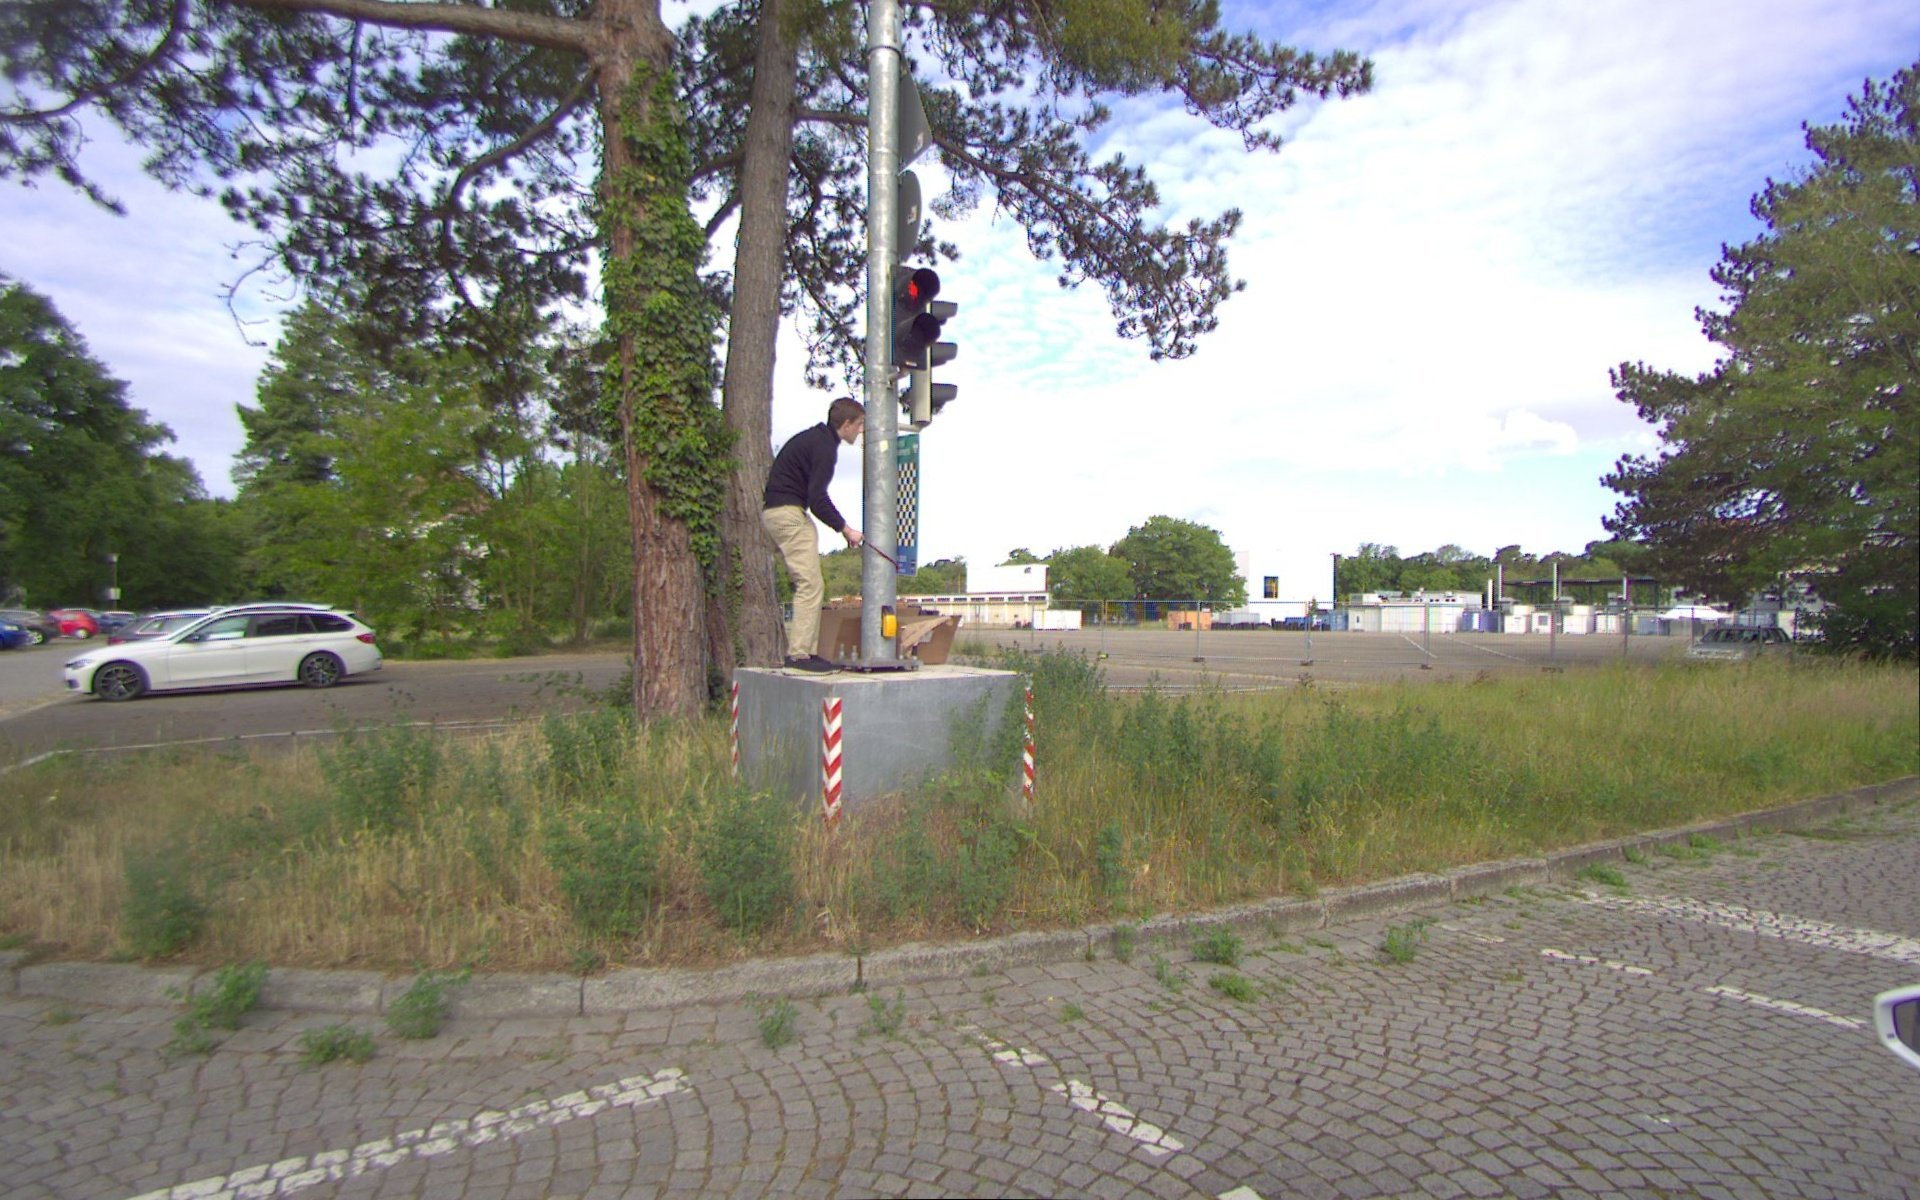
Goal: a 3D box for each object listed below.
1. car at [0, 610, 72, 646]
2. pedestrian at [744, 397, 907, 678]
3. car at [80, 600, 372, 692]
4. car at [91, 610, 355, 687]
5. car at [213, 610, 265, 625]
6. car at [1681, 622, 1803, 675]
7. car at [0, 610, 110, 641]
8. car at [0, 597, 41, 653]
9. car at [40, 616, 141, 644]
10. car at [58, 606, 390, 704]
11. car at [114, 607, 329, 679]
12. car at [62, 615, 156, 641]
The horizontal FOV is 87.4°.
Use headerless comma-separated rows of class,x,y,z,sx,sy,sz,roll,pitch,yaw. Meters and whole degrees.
car,-43.279,1.276,45.368,4.539,1.542,1.823,-1,0,-36
pedestrian,-0.831,-0.332,6.038,0.809,1.538,0.881,1,-1,-19
car,-14.551,0.840,20.210,4.539,1.599,1.823,-1,0,-36
car,-16.128,1.002,22.316,4.535,1.489,1.824,-1,0,-33
car,-78.583,1.923,109.572,4.540,1.654,1.823,1,-1,-36
car,23.340,1.391,29.931,4.423,1.457,1.704,1,-1,-36
car,-48.745,1.352,53.966,4.539,1.542,1.823,-1,0,-36
car,-38.323,1.000,38.031,4.929,2.125,1.824,-1,0,-34
car,-54.044,1.830,62.547,4.539,1.542,1.823,-1,0,-36
car,-13.018,0.889,18.121,4.609,1.470,1.823,-1,0,-36
car,-17.805,0.985,24.473,4.069,1.542,1.722,-1,0,-33
car,-56.199,1.823,66.417,4.539,1.542,1.823,-1,1,-36
